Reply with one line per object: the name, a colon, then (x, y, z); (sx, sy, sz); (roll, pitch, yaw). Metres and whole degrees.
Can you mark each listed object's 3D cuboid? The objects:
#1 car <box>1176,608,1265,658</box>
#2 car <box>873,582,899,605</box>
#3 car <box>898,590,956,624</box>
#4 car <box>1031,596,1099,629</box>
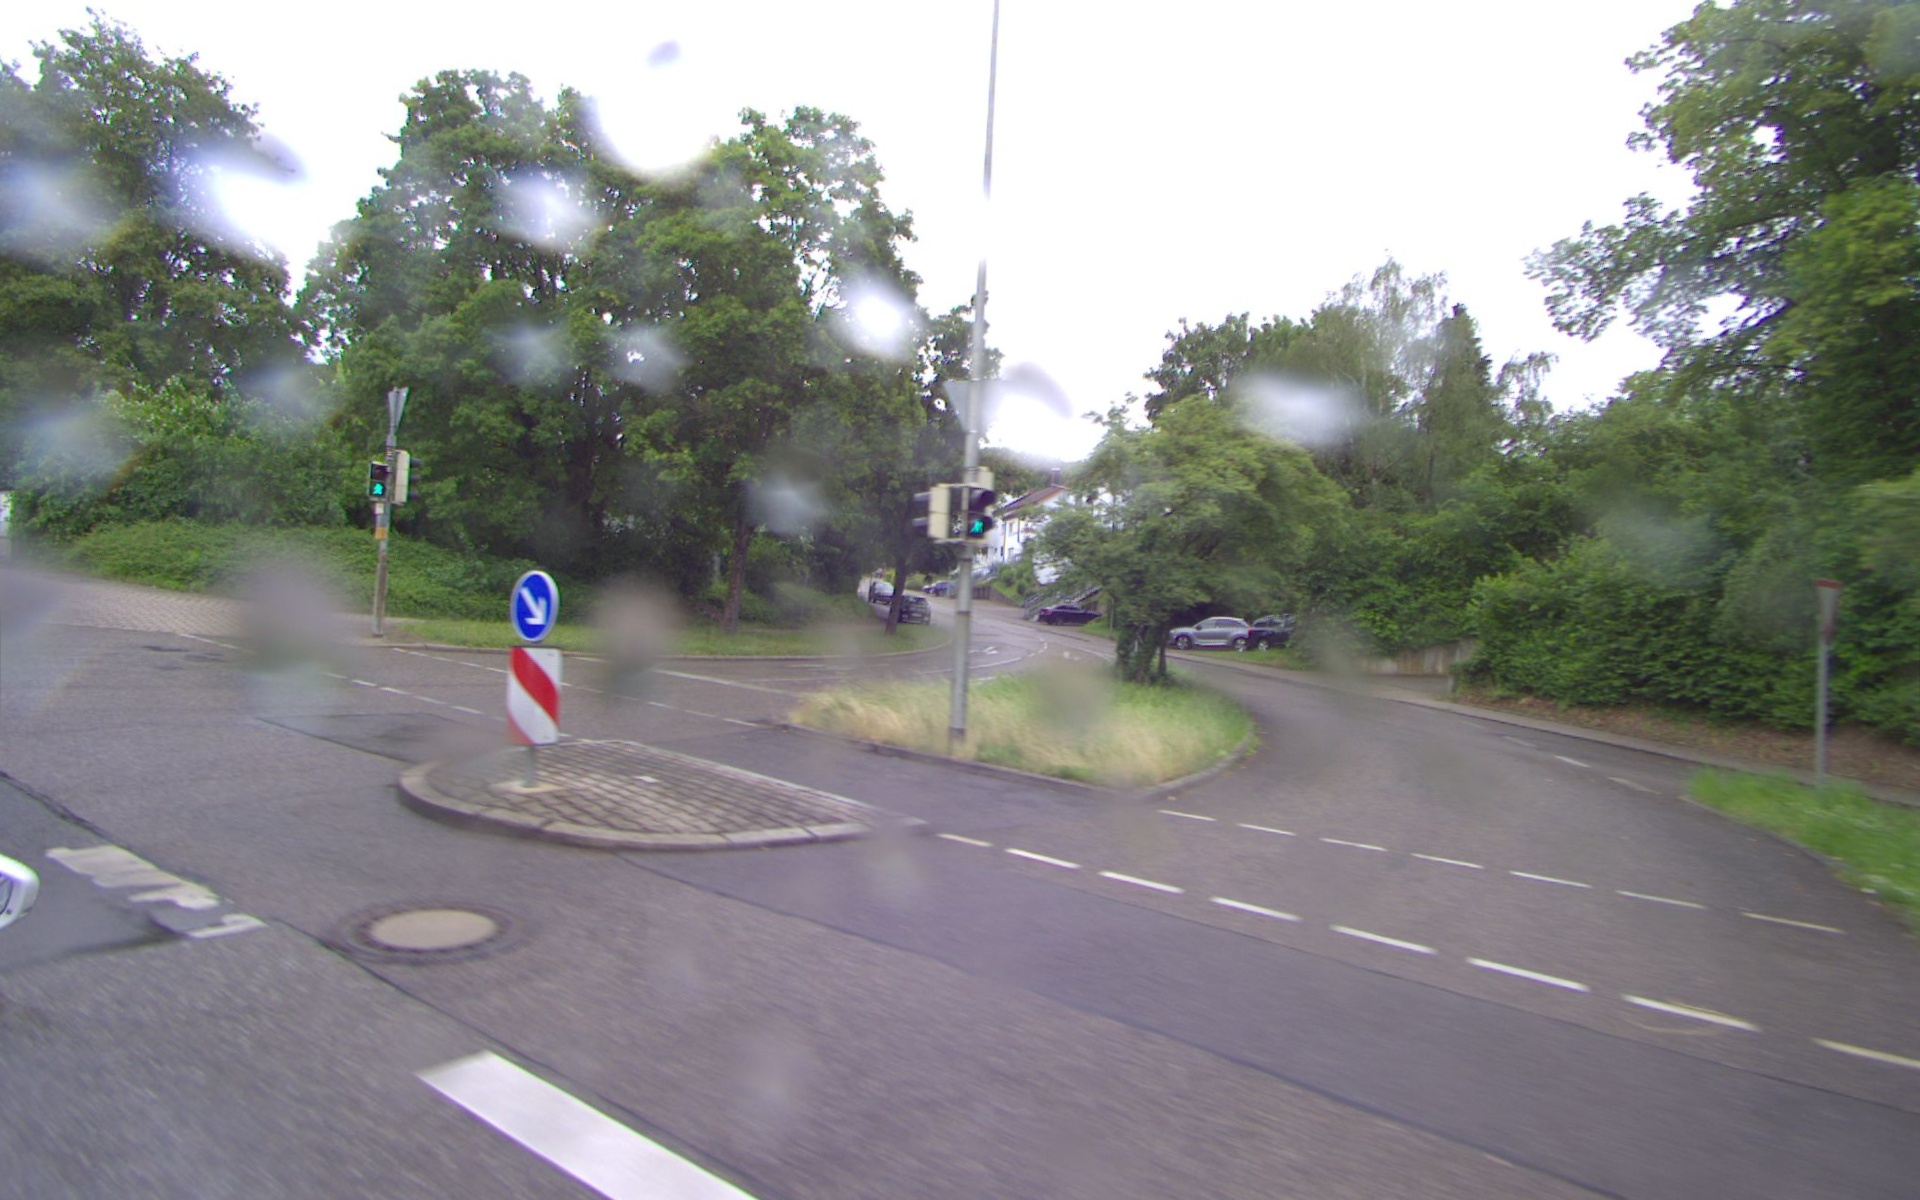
car: (12.856, 1.622, 49.593); (3.925, 1.923, 1.957); (7, 1, 19)
car: (-5.878, -0.502, 80.469); (1.672, 1.463, 4.002); (7, -2, 0)
car: (-1.745, 0.404, 54.834); (1.794, 1.590, 4.000); (7, 0, 17)
car: (6.899, 0.801, 66.269); (3.936, 1.668, 1.952); (7, 1, -13)
